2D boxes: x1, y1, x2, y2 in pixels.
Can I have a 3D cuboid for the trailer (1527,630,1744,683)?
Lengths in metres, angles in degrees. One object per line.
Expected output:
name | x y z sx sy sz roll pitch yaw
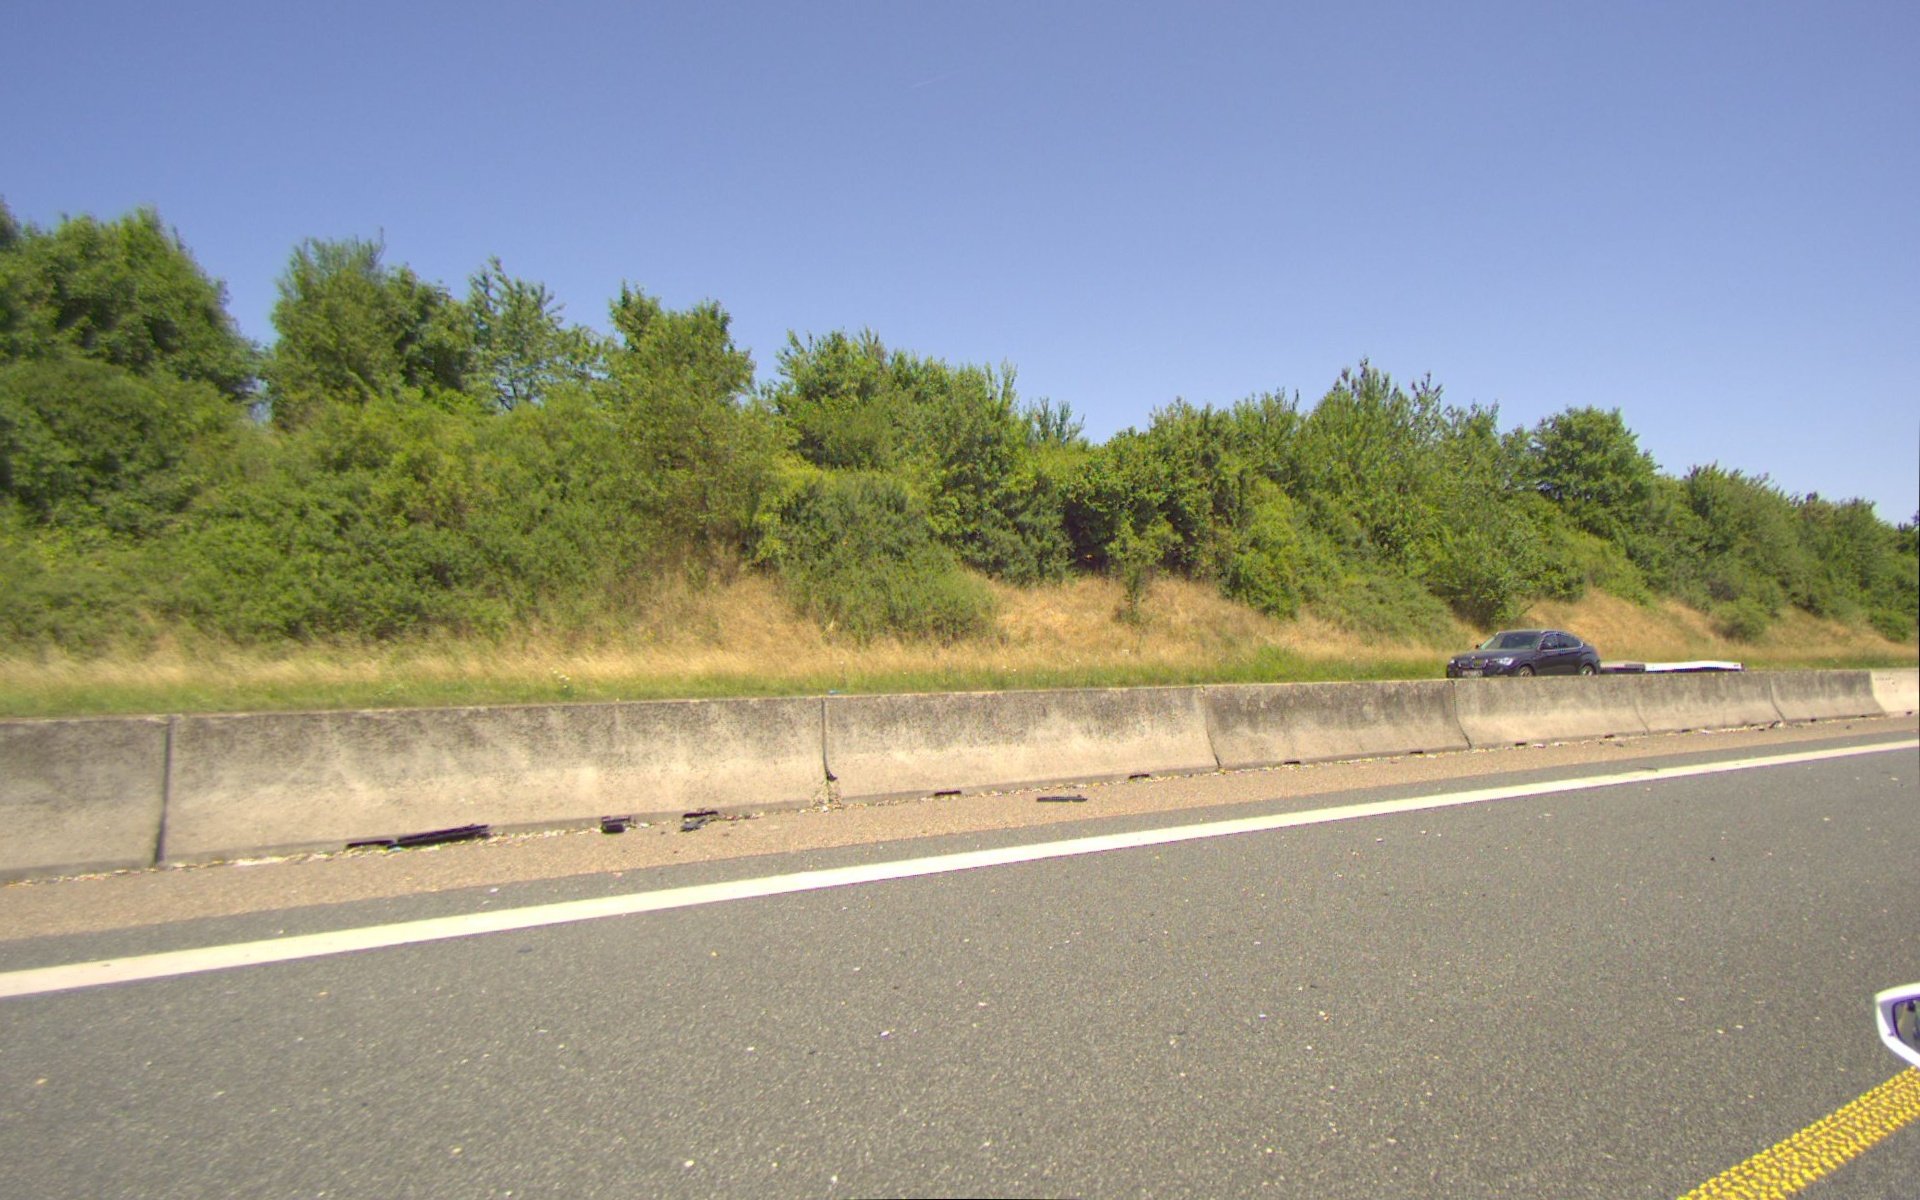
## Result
trailer | 19.544 1.589 28.930 7.132 1.362 2.345 2 -2 -30

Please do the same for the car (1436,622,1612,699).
car | 14.506 1.508 25.779 4.512 1.777 1.904 2 0 -30
